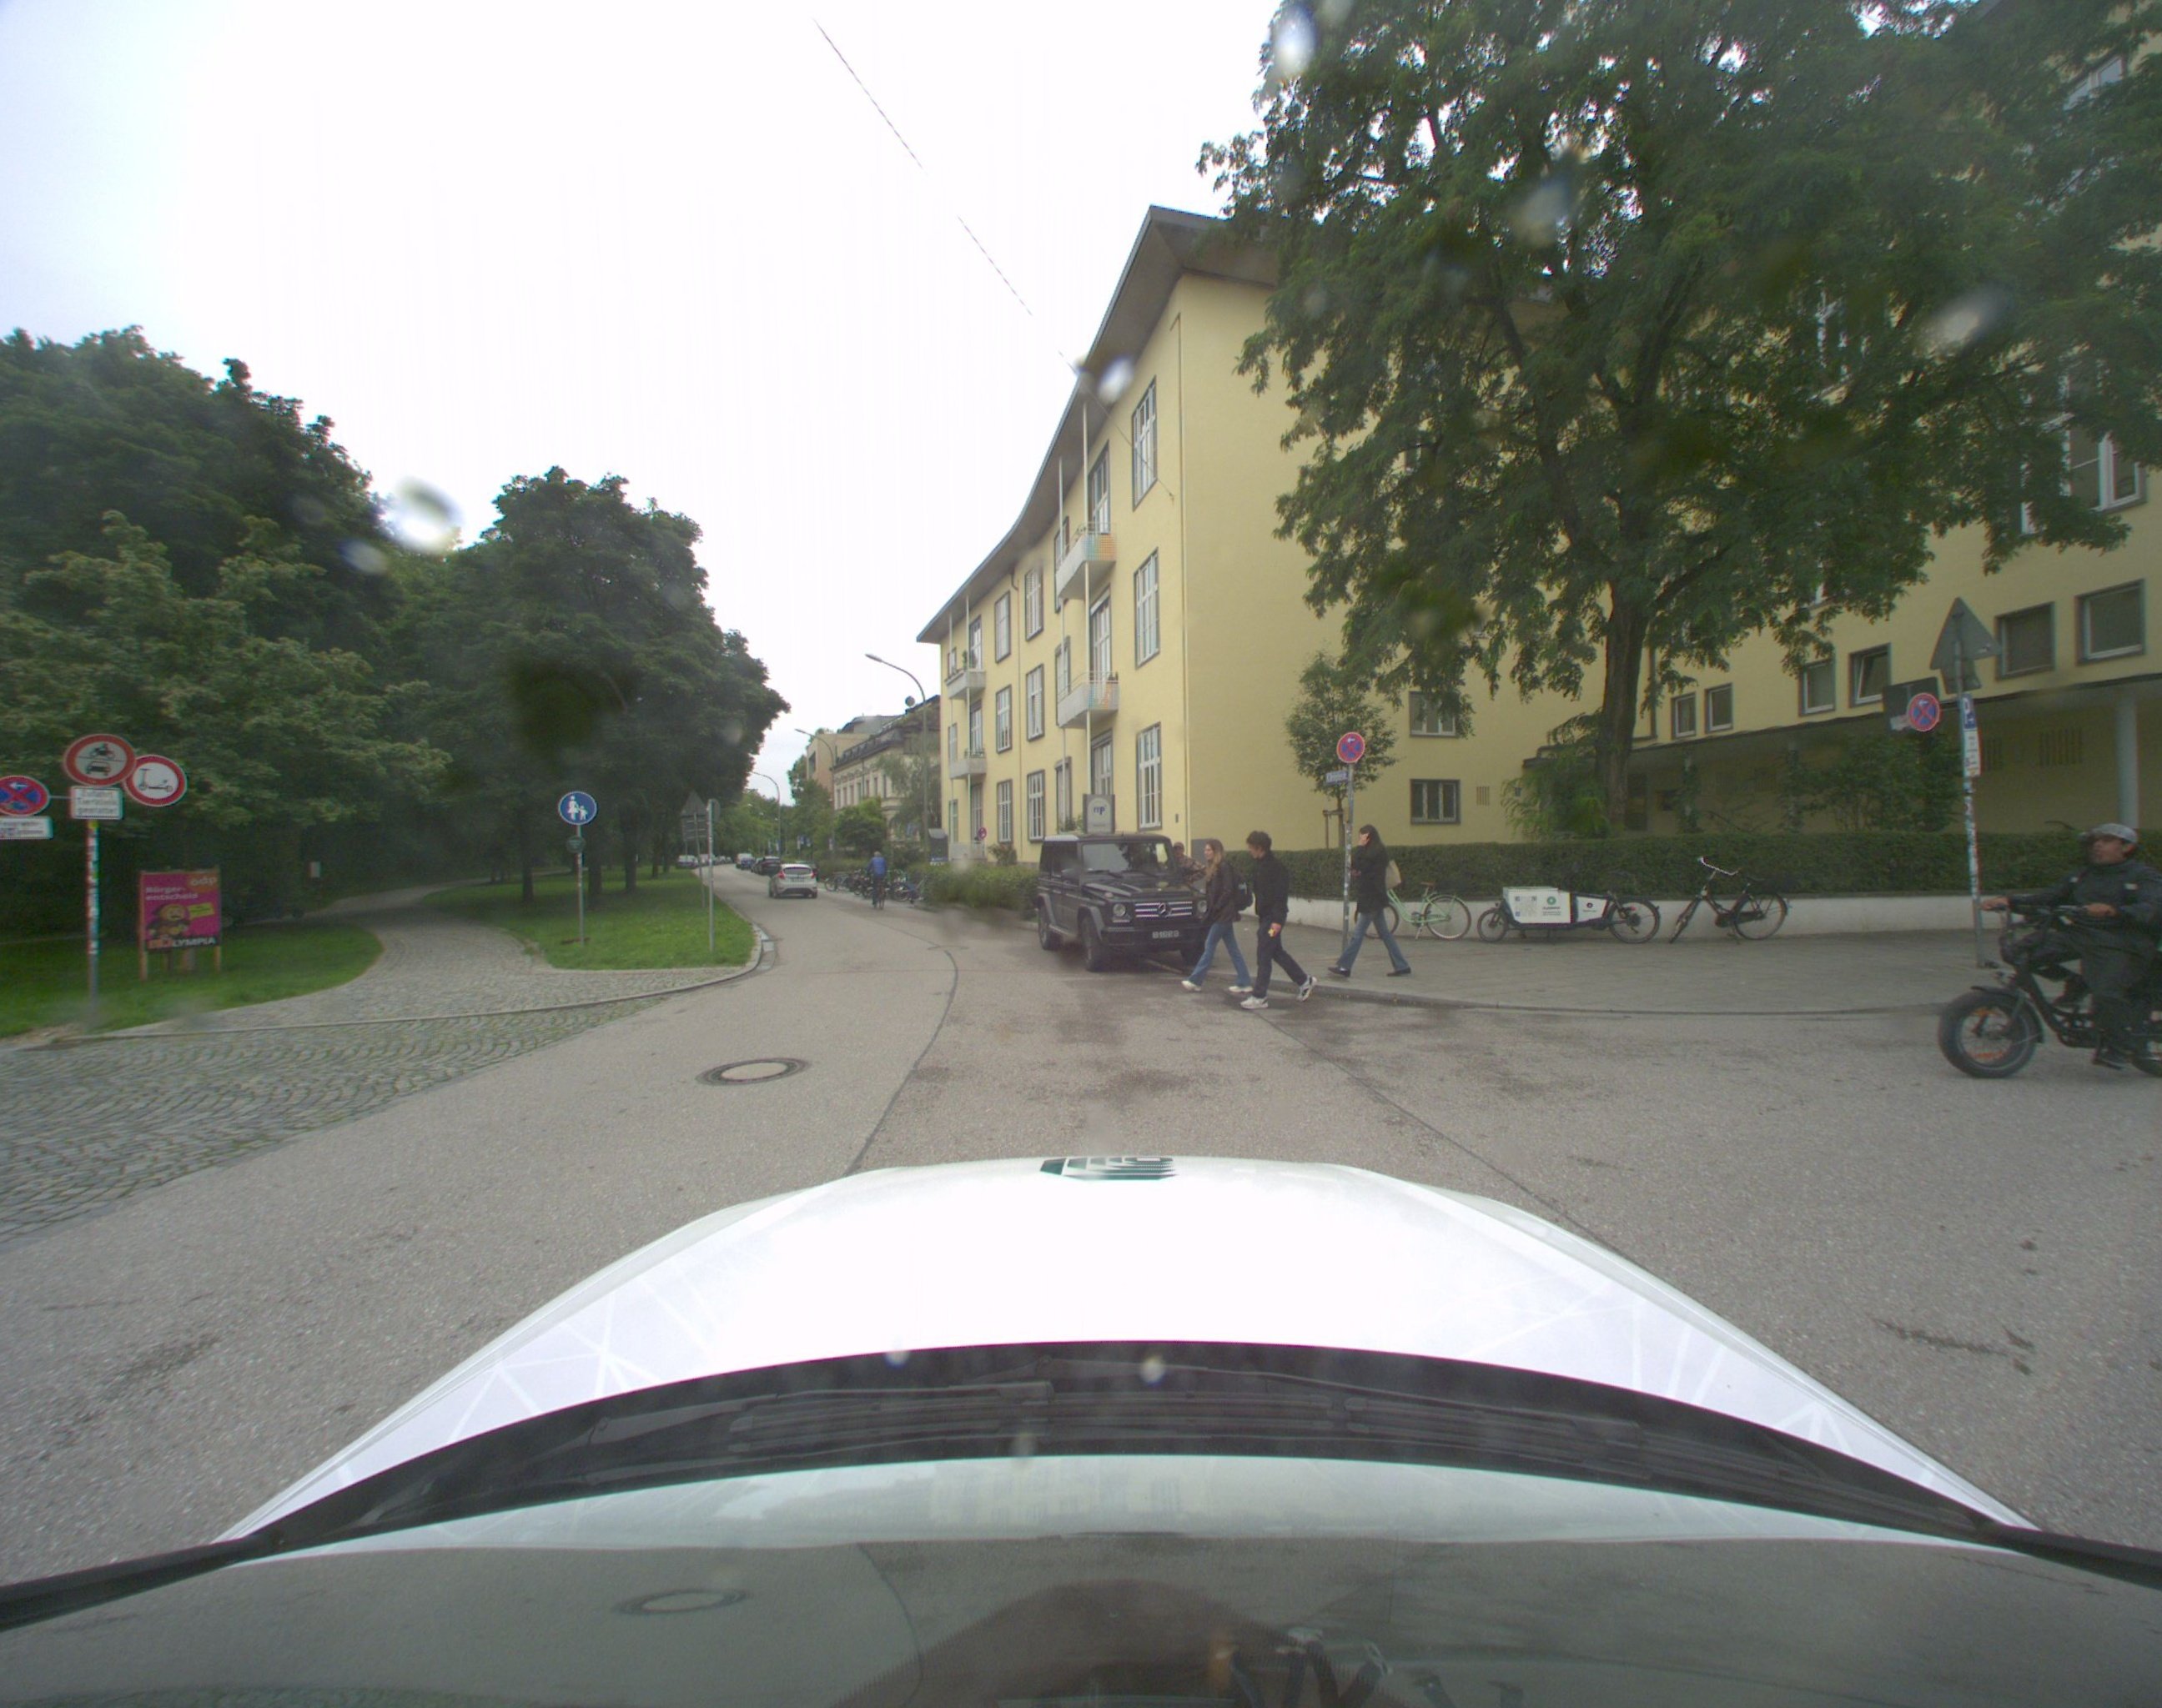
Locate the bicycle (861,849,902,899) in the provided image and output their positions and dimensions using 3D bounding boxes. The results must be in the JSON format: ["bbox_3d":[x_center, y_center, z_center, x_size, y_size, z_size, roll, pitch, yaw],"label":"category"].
[{"bbox_3d":[-8.349,0.804,34.205,0.451,2.013,1.688,-2,0,38],"label":"bicycle"}]

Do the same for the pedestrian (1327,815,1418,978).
[{"bbox_3d":[3.471,0.494,9.762,0.845,1.857,0.769,-3,-1,10],"label":"pedestrian"}]

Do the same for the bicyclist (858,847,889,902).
[{"bbox_3d":[-6.855,0.659,26.862,0.916,1.764,1.208,-1,0,-17],"label":"bicyclist"}]

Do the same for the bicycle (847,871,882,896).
[{"bbox_3d":[-9.437,1.278,35.464,0.404,1.014,1.548,-2,0,34],"label":"bicycle"}]

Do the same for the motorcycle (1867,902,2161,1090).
[{"bbox_3d":[6.586,0.901,5.373,1.960,1.098,0.720,-1,0,8],"label":"motorcycle"}]

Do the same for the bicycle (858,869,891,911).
[{"bbox_3d":[-6.803,1.160,26.748,0.923,1.252,2.307,-1,0,-18],"label":"bicycle"}]

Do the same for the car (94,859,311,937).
[{"bbox_3d":[-25.818,1.226,24.105,1.765,2.013,4.025,-2,0,29],"label":"car"}]

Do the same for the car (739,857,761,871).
[{"bbox_3d":[-39.639,1.145,97.492,2.005,1.600,4.216,-1,0,-27],"label":"car"}]

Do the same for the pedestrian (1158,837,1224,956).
[{"bbox_3d":[1.695,0.632,12.727,0.846,1.757,0.953,-2,0,-1],"label":"pedestrian"}]

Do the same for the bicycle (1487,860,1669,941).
[{"bbox_3d":[7.186,0.665,11.877,2.152,1.115,0.643,-1,0,14],"label":"bicycle"}]

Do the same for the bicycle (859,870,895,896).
[{"bbox_3d":[-8.690,1.236,34.759,0.404,1.014,1.547,-2,0,38],"label":"bicycle"}]

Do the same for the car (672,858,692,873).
[{"bbox_3d":[-46.356,1.318,94.708,2.004,1.600,4.429,-1,0,-26],"label":"car"}]

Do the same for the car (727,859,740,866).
[{"bbox_3d":[-76.363,1.881,178.976,1.999,1.600,4.440,-1,0,-18],"label":"car"}]

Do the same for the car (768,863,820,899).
[{"bbox_3d":[-12.395,1.111,35.057,1.756,1.406,3.697,-1,0,-24],"label":"car"}]

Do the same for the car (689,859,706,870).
[{"bbox_3d":[-58.341,1.623,123.865,2.002,1.600,4.434,-1,0,-22],"label":"car"}]

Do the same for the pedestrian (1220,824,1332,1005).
[{"bbox_3d":[2.036,0.612,8.599,0.986,1.809,0.660,-2,0,1],"label":"pedestrian"}]

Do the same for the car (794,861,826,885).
[{"bbox_3d":[-18.719,1.277,56.182,1.655,1.558,3.530,-1,0,-25],"label":"car"}]

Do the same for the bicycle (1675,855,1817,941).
[{"bbox_3d":[9.368,0.606,11.492,1.678,1.130,0.459,-1,0,-4],"label":"bicycle"}]

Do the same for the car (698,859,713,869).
[{"bbox_3d":[-63.194,1.698,137.069,2.002,1.600,4.434,-1,0,-22],"label":"car"}]

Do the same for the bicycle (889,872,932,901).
[{"bbox_3d":[-6.537,1.250,31.199,1.542,1.014,0.364,-2,0,-28],"label":"bicycle"}]

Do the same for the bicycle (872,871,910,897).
[{"bbox_3d":[-7.915,1.238,33.946,0.362,1.014,1.547,-2,0,43],"label":"bicycle"}]

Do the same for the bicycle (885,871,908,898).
[{"bbox_3d":[-7.447,1.206,32.898,0.364,1.014,1.540,-2,0,6],"label":"bicycle"}]

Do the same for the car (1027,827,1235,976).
[{"bbox_3d":[0.545,0.611,12.923,1.877,1.887,4.594,-1,0,-16],"label":"car"}]

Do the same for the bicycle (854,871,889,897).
[{"bbox_3d":[-9.031,1.291,35.175,0.404,1.014,1.548,-2,0,34],"label":"bicycle"}]

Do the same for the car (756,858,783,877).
[{"bbox_3d":[-28.190,1.216,73.550,1.803,1.680,3.964,-1,0,-27],"label":"car"}]

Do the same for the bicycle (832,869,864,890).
[{"bbox_3d":[-12.293,1.350,42.993,1.546,1.014,0.404,-3,0,-43],"label":"bicycle"}]

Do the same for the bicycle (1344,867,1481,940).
[{"bbox_3d":[5.271,0.794,13.038,1.925,1.085,0.532,-4,-2,41],"label":"bicycle"}]

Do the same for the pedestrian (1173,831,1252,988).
[{"bbox_3d":[1.548,0.620,9.493,0.821,1.746,0.743,-1,0,13],"label":"pedestrian"}]

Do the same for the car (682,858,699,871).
[{"bbox_3d":[-52.747,1.426,109.881,2.004,1.600,4.429,-1,0,-26],"label":"car"}]

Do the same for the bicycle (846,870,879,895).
[{"bbox_3d":[-9.980,1.291,37.212,0.404,1.014,1.548,-2,0,34],"label":"bicycle"}]

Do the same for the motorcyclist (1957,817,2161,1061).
[{"bbox_3d":[6.615,0.520,5.357,0.891,1.501,0.715,-1,0,9],"label":"motorcyclist"}]

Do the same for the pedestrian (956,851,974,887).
[{"bbox_3d":[-5.536,0.700,38.787,0.634,1.684,0.692,-2,0,-25],"label":"pedestrian"}]

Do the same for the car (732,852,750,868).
[{"bbox_3d":[-44.089,0.796,105.665,2.075,1.966,4.938,-1,0,-23],"label":"car"}]
